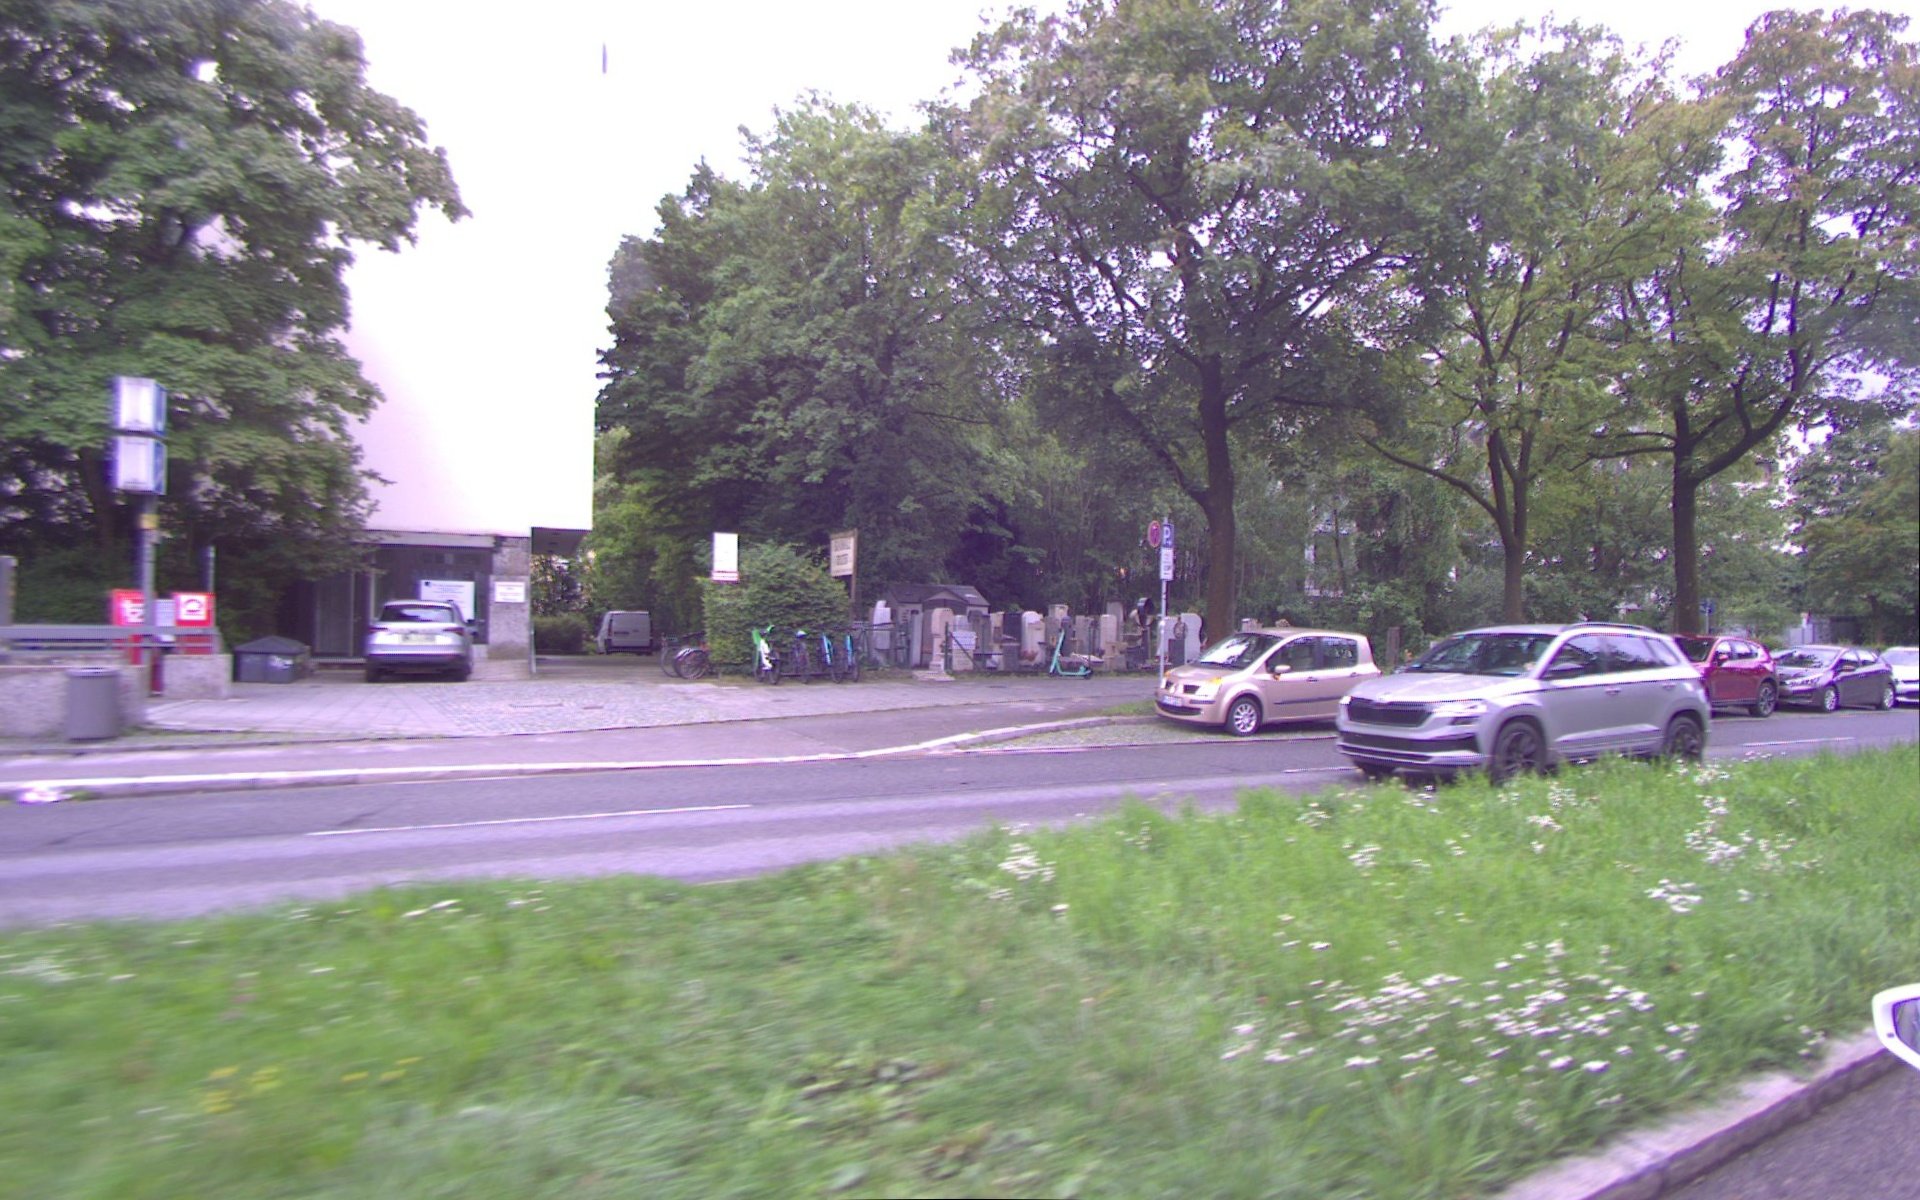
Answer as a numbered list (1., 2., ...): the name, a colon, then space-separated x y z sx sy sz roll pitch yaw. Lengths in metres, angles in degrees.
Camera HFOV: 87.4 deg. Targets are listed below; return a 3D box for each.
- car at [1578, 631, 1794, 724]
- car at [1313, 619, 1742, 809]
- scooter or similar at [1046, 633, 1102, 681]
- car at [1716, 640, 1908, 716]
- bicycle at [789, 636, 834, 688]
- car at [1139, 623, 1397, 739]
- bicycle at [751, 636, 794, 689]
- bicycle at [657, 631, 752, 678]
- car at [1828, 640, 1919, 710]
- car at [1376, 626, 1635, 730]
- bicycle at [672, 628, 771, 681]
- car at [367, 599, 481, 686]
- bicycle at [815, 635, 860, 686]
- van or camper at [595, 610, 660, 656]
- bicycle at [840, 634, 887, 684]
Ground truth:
1. car: 15.081 1.536 20.825 4.548 1.673 1.732 2 1 -28
2. car: 5.940 1.067 10.475 4.318 1.646 1.761 2 -2 -26
3. scooter or similar: 2.708 1.353 23.864 1.267 1.141 0.435 1 -1 -13
4. car: 19.520 1.738 23.004 4.275 1.502 1.733 2 1 -25
5. bicycle: -3.109 1.266 20.908 0.431 1.020 1.757 1 -2 -25
6. car: 4.894 1.226 15.950 3.766 1.635 1.643 2 0 -24
7. bicycle: -3.831 1.250 20.429 0.431 1.020 1.757 1 -2 -25
8. bicycle: -5.761 1.226 22.681 2.004 1.020 0.577 1 -2 -25
9. car: 23.870 1.828 25.057 4.415 1.550 1.733 2 0 -26
10. car: 9.940 1.357 18.250 4.621 1.665 1.733 2 0 -26
11. bicycle: -5.149 1.174 21.721 2.004 1.113 0.577 1 -2 -25
12. car: -10.905 0.850 20.667 1.724 1.610 3.977 1 -2 -24
13. bicycle: -2.613 1.254 21.314 0.431 1.020 1.757 1 -2 -25
14. van or camper: -13.965 1.397 42.010 1.892 1.814 4.062 2 -2 -28
15. bicycle: -2.090 1.251 21.578 0.431 1.020 1.757 1 -2 -25
